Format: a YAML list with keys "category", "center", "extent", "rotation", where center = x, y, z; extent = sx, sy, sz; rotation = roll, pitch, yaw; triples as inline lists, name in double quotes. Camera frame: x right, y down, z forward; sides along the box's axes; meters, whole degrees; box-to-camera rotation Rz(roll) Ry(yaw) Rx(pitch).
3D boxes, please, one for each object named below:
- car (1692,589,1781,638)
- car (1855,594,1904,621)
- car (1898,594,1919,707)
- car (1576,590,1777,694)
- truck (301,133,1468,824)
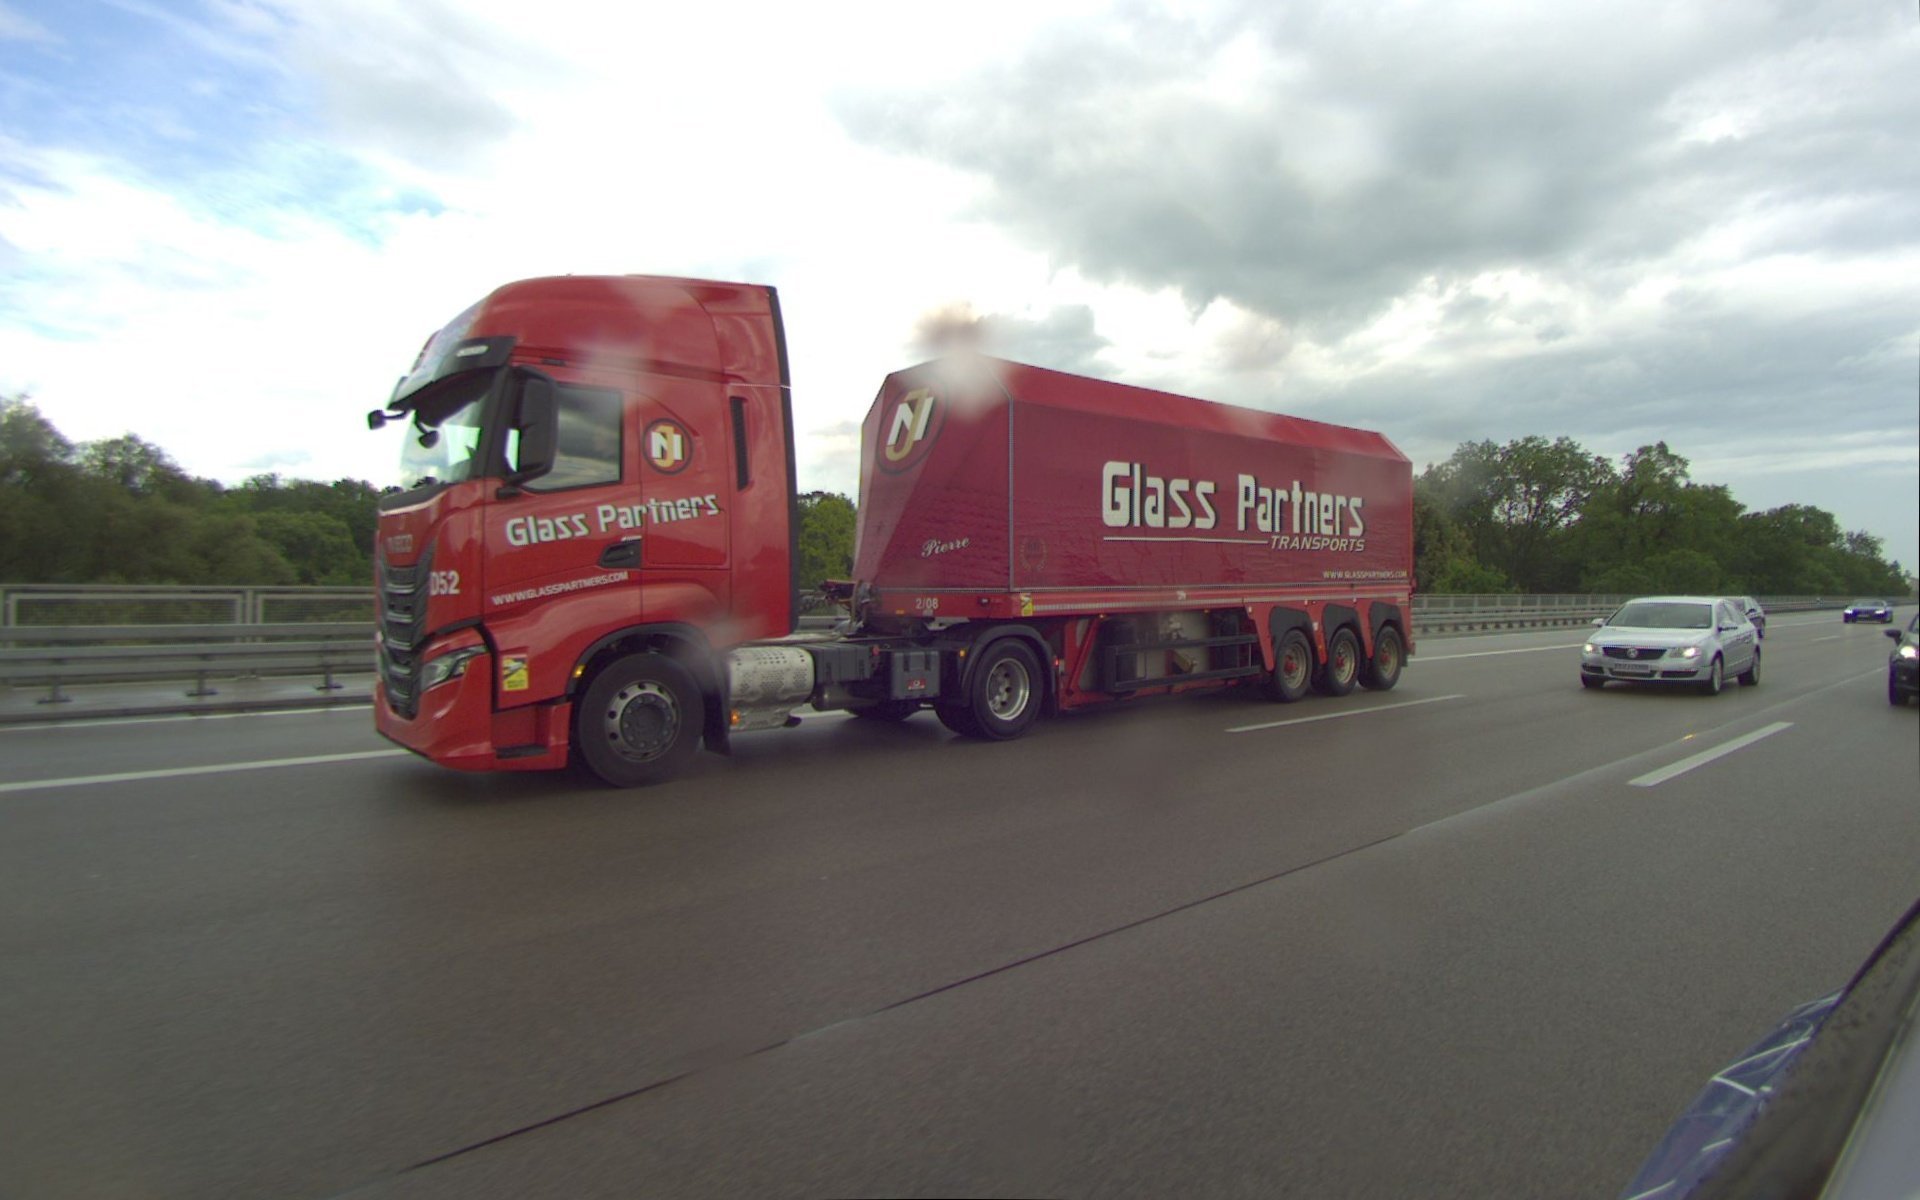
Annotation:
- category: "car"
  center: [27.050, 0.431, 35.199]
  extent: [4.285, 1.562, 1.816]
  rotation: [0, 1, -44]
- category: "car"
  center: [52.192, 0.421, 57.424]
  extent: [4.511, 1.465, 1.778]
  rotation: [0, 1, -44]
- category: "car"
  center: [14.582, 0.651, 14.223]
  extent: [4.330, 1.458, 1.666]
  rotation: [-1, 1, -42]
- category: "car"
  center: [11.678, 0.581, 16.386]
  extent: [4.175, 1.465, 1.895]
  rotation: [0, 1, -44]
- category: "truck"
  center: [1.349, -0.743, 12.257]
  extent: [15.366, 4.054, 3.157]
  rotation: [0, 0, -42]
